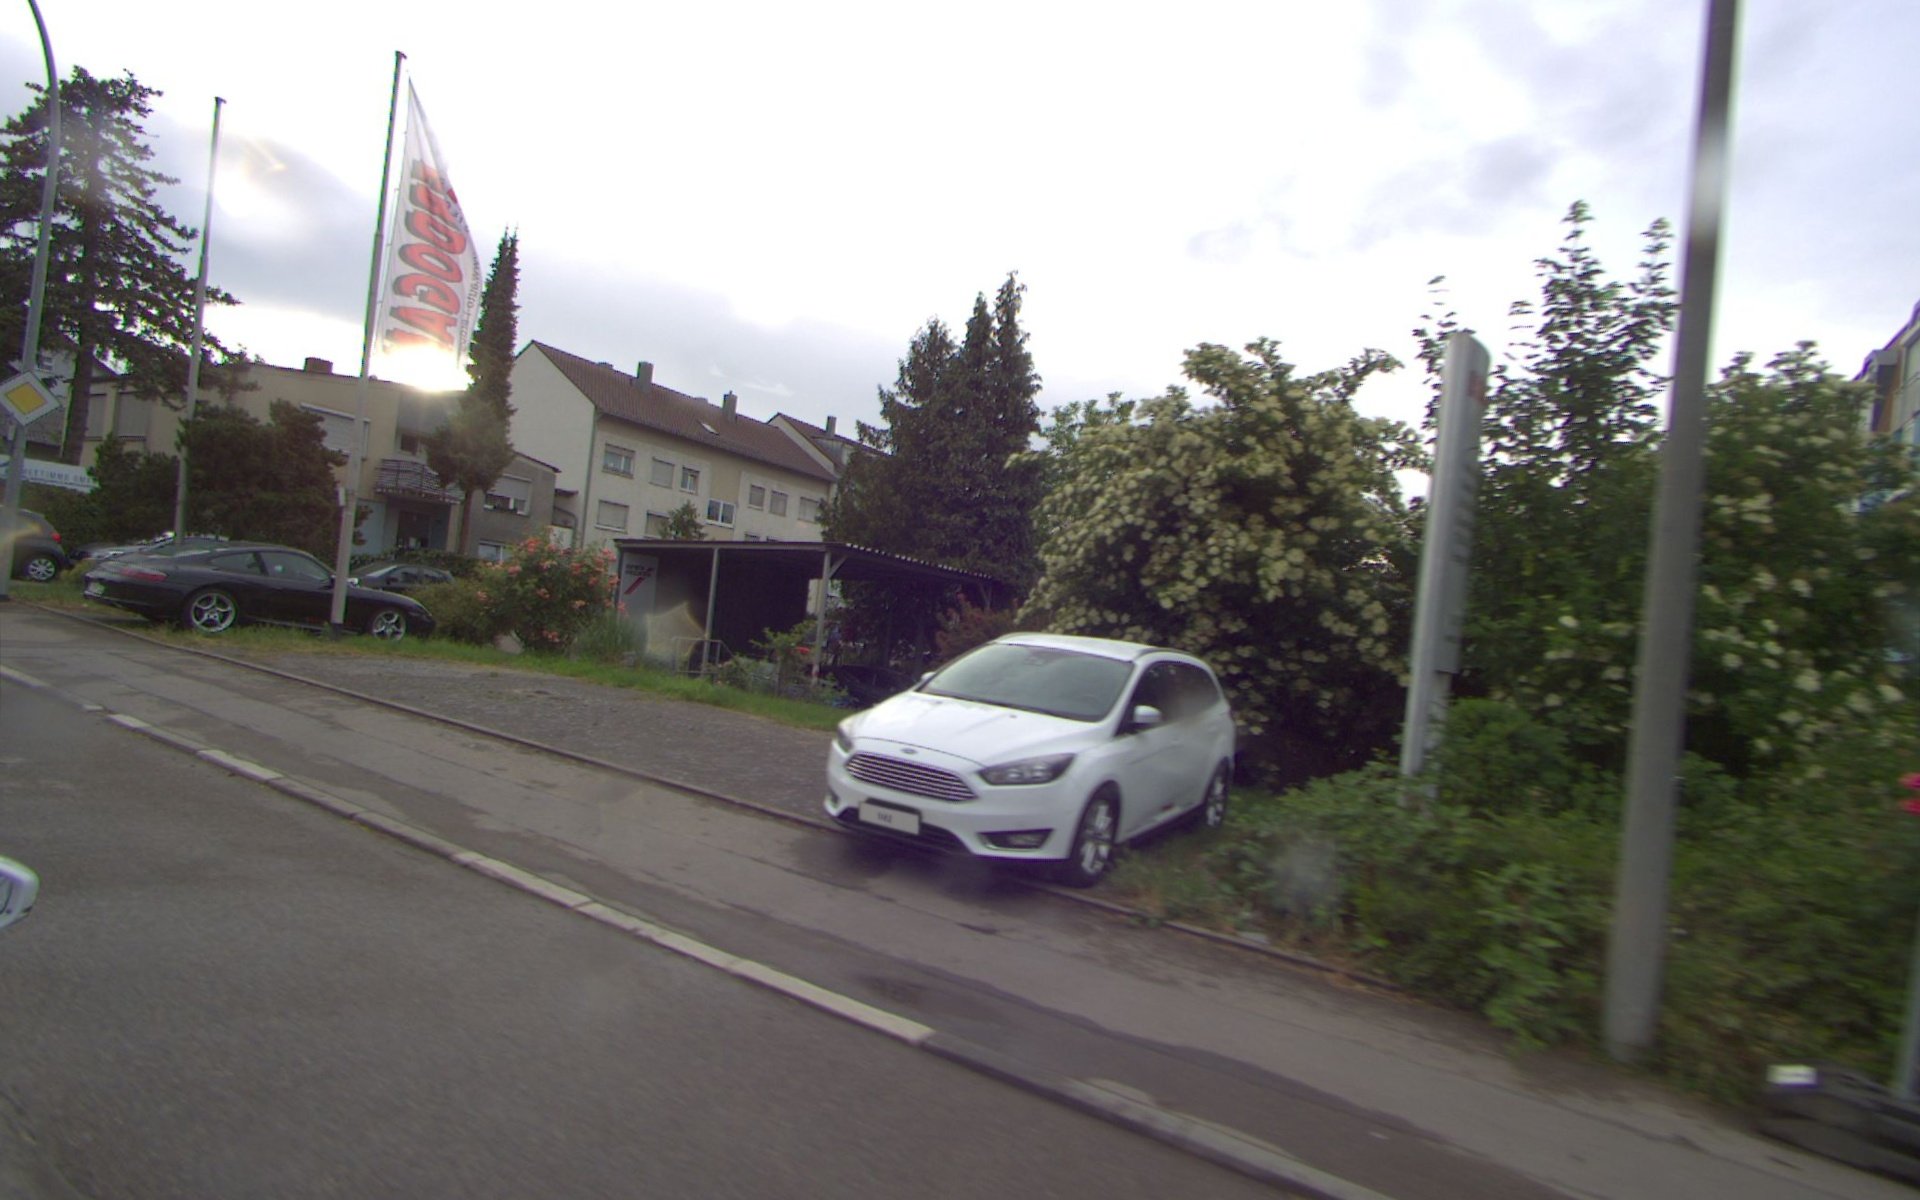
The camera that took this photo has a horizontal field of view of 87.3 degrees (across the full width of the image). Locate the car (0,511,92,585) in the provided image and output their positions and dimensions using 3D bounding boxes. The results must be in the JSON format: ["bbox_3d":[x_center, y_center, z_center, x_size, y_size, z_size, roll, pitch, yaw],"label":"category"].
[{"bbox_3d":[-20.192,-1.272,19.956,1.918,1.280,3.999,6,-3,29],"label":"car"}]

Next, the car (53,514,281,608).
[{"bbox_3d":[-18.348,-0.854,23.431,1.828,1.555,3.625,6,-3,29],"label":"car"}]

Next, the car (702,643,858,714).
[{"bbox_3d":[-4.577,1.994,25.539,3.494,1.280,1.591,6,-3,25],"label":"car"}]

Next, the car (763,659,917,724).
[{"bbox_3d":[-3.334,2.532,27.964,3.725,1.248,1.819,6,-3,23],"label":"car"}]

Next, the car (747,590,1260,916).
[{"bbox_3d":[0.683,0.995,7.428,1.871,1.492,4.349,6,-3,30],"label":"car"}]

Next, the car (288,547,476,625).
[{"bbox_3d":[-15.810,-0.331,27.734,1.911,1.525,3.955,6,-3,29],"label":"car"}]

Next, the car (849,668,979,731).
[{"bbox_3d":[-1.380,3.009,30.521,3.417,1.390,1.732,6,-3,23],"label":"car"}]

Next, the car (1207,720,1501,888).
[{"bbox_3d":[5.646,2.792,14.446,3.594,1.603,1.804,6,-2,30],"label":"car"}]

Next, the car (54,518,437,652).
[{"bbox_3d":[-10.095,-0.143,14.525,1.919,1.280,3.995,6,-4,33],"label":"car"}]
